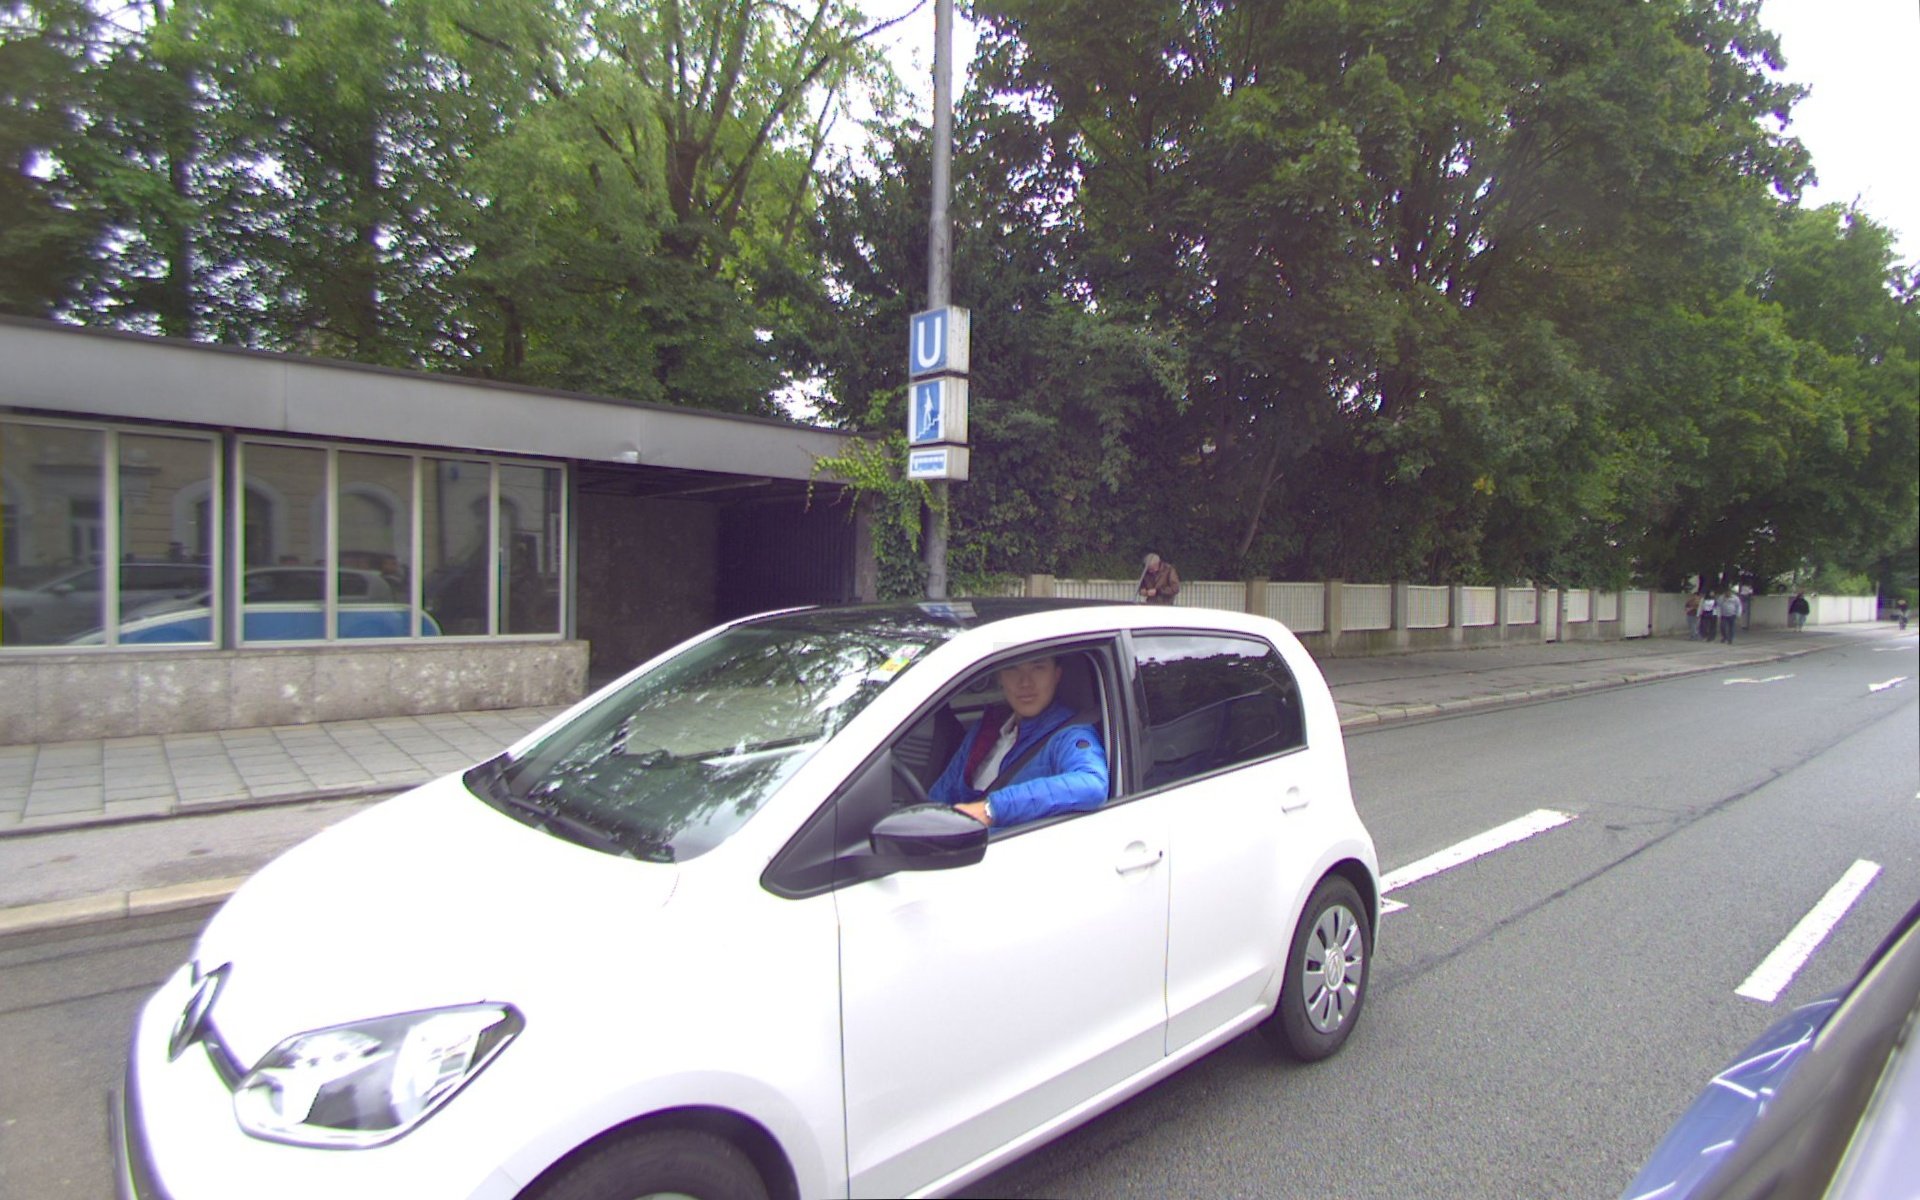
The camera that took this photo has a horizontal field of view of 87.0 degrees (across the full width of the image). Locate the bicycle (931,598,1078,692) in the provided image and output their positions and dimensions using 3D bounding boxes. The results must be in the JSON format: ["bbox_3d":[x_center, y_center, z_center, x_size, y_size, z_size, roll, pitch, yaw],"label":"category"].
[{"bbox_3d":[0.604,0.535,12.913,1.991,1.104,0.623,0,1,-41],"label":"bicycle"}]

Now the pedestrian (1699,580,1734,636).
[{"bbox_3d":[24.150,0.233,32.298,0.753,1.726,0.667,0,3,-42],"label":"pedestrian"}]

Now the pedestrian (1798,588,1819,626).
[{"bbox_3d":[36.469,0.306,43.481,0.716,1.600,0.529,0,3,-42],"label":"pedestrian"}]

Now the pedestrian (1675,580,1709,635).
[{"bbox_3d":[23.731,0.234,32.803,0.753,1.726,0.667,0,3,-42],"label":"pedestrian"}]

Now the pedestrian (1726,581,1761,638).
[{"bbox_3d":[24.618,0.300,31.808,0.753,1.726,0.667,0,3,-42],"label":"pedestrian"}]

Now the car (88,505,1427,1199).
[{"bbox_3d":[-0.234,0.654,2.981,3.524,1.581,1.645,0,1,-42],"label":"car"}]

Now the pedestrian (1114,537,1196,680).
[{"bbox_3d":[2.786,0.097,14.455,0.788,1.966,0.779,0,2,-40],"label":"pedestrian"}]

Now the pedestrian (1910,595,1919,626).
[{"bbox_3d":[50.856,0.541,53.715,0.716,1.600,0.529,0,3,-42],"label":"pedestrian"}]
